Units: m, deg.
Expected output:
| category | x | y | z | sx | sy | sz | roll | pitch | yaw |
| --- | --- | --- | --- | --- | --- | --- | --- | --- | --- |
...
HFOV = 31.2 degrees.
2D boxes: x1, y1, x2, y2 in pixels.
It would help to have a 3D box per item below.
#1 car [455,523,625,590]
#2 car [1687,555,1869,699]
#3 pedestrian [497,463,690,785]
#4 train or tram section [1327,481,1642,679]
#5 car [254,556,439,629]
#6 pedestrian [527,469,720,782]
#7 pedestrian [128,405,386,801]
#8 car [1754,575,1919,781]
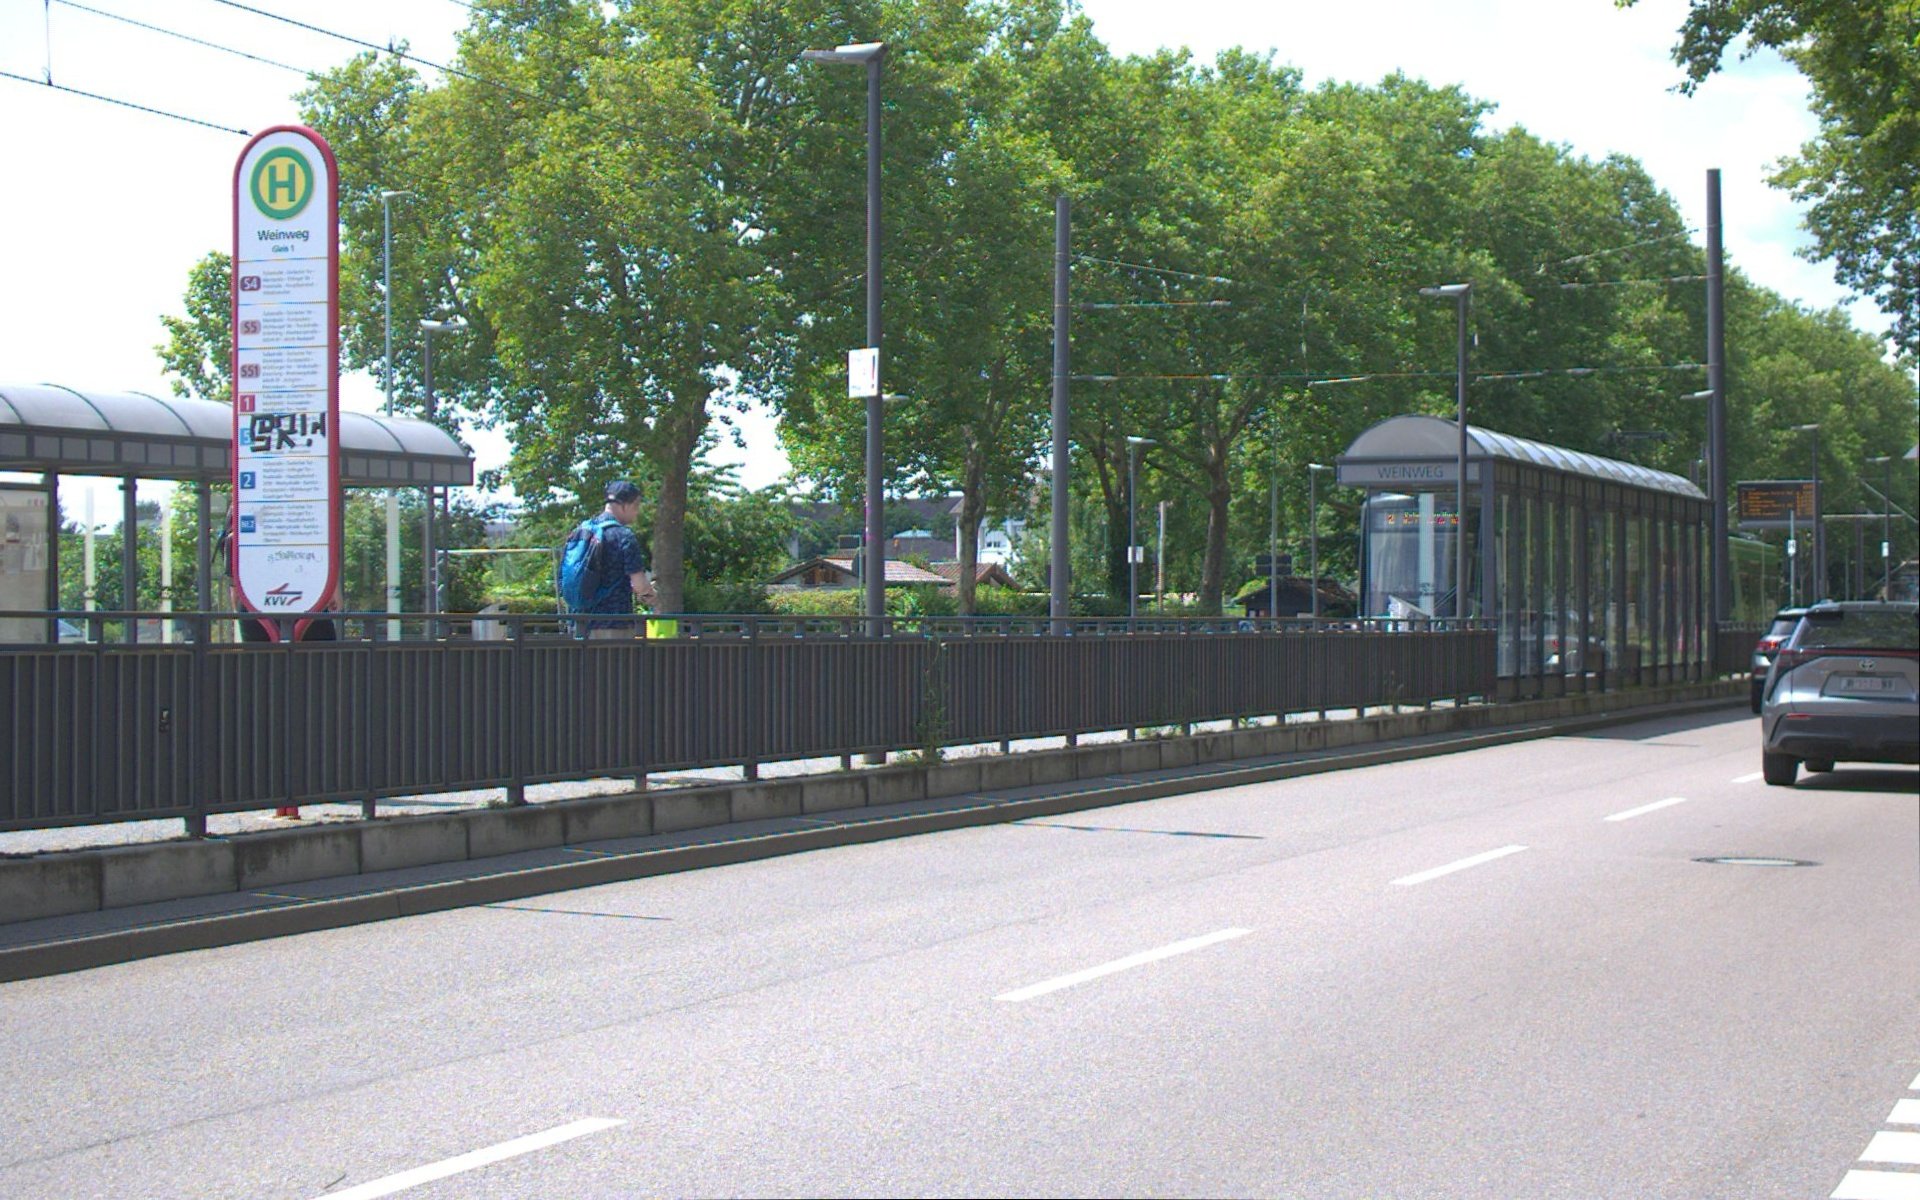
| category | x | y | z | sx | sy | sz | roll | pitch | yaw |
| --- | --- | --- | --- | --- | --- | --- | --- | --- | --- |
| car | -10.855 | -1.138 | 88.810 | 3.920 | 1.656 | 1.907 | 1 | 1 | 23 |
| car | 12.103 | 0.366 | 50.661 | 1.996 | 1.982 | 4.358 | 1 | 1 | 21 |
| pedestrian | -2.107 | 0.127 | 19.836 | 0.734 | 1.801 | 0.929 | 1 | 0 | 22 |
| train or tram section | 9.785 | -0.307 | 62.282 | 3.040 | 3.175 | 14.086 | 0 | 0 | 19 |
| car | -14.581 | -0.195 | 81.669 | 3.920 | 1.656 | 1.907 | 1 | 1 | 23 |
| pedestrian | -1.931 | 0.135 | 19.816 | 0.734 | 1.750 | 0.929 | 1 | 0 | 22 |
| pedestrian | -3.553 | -0.002 | 17.420 | 0.874 | 1.932 | 0.993 | 1 | 1 | 21 |
| car | 8.294 | 0.712 | 30.402 | 1.900 | 1.669 | 4.514 | 1 | -2 | 20 |
